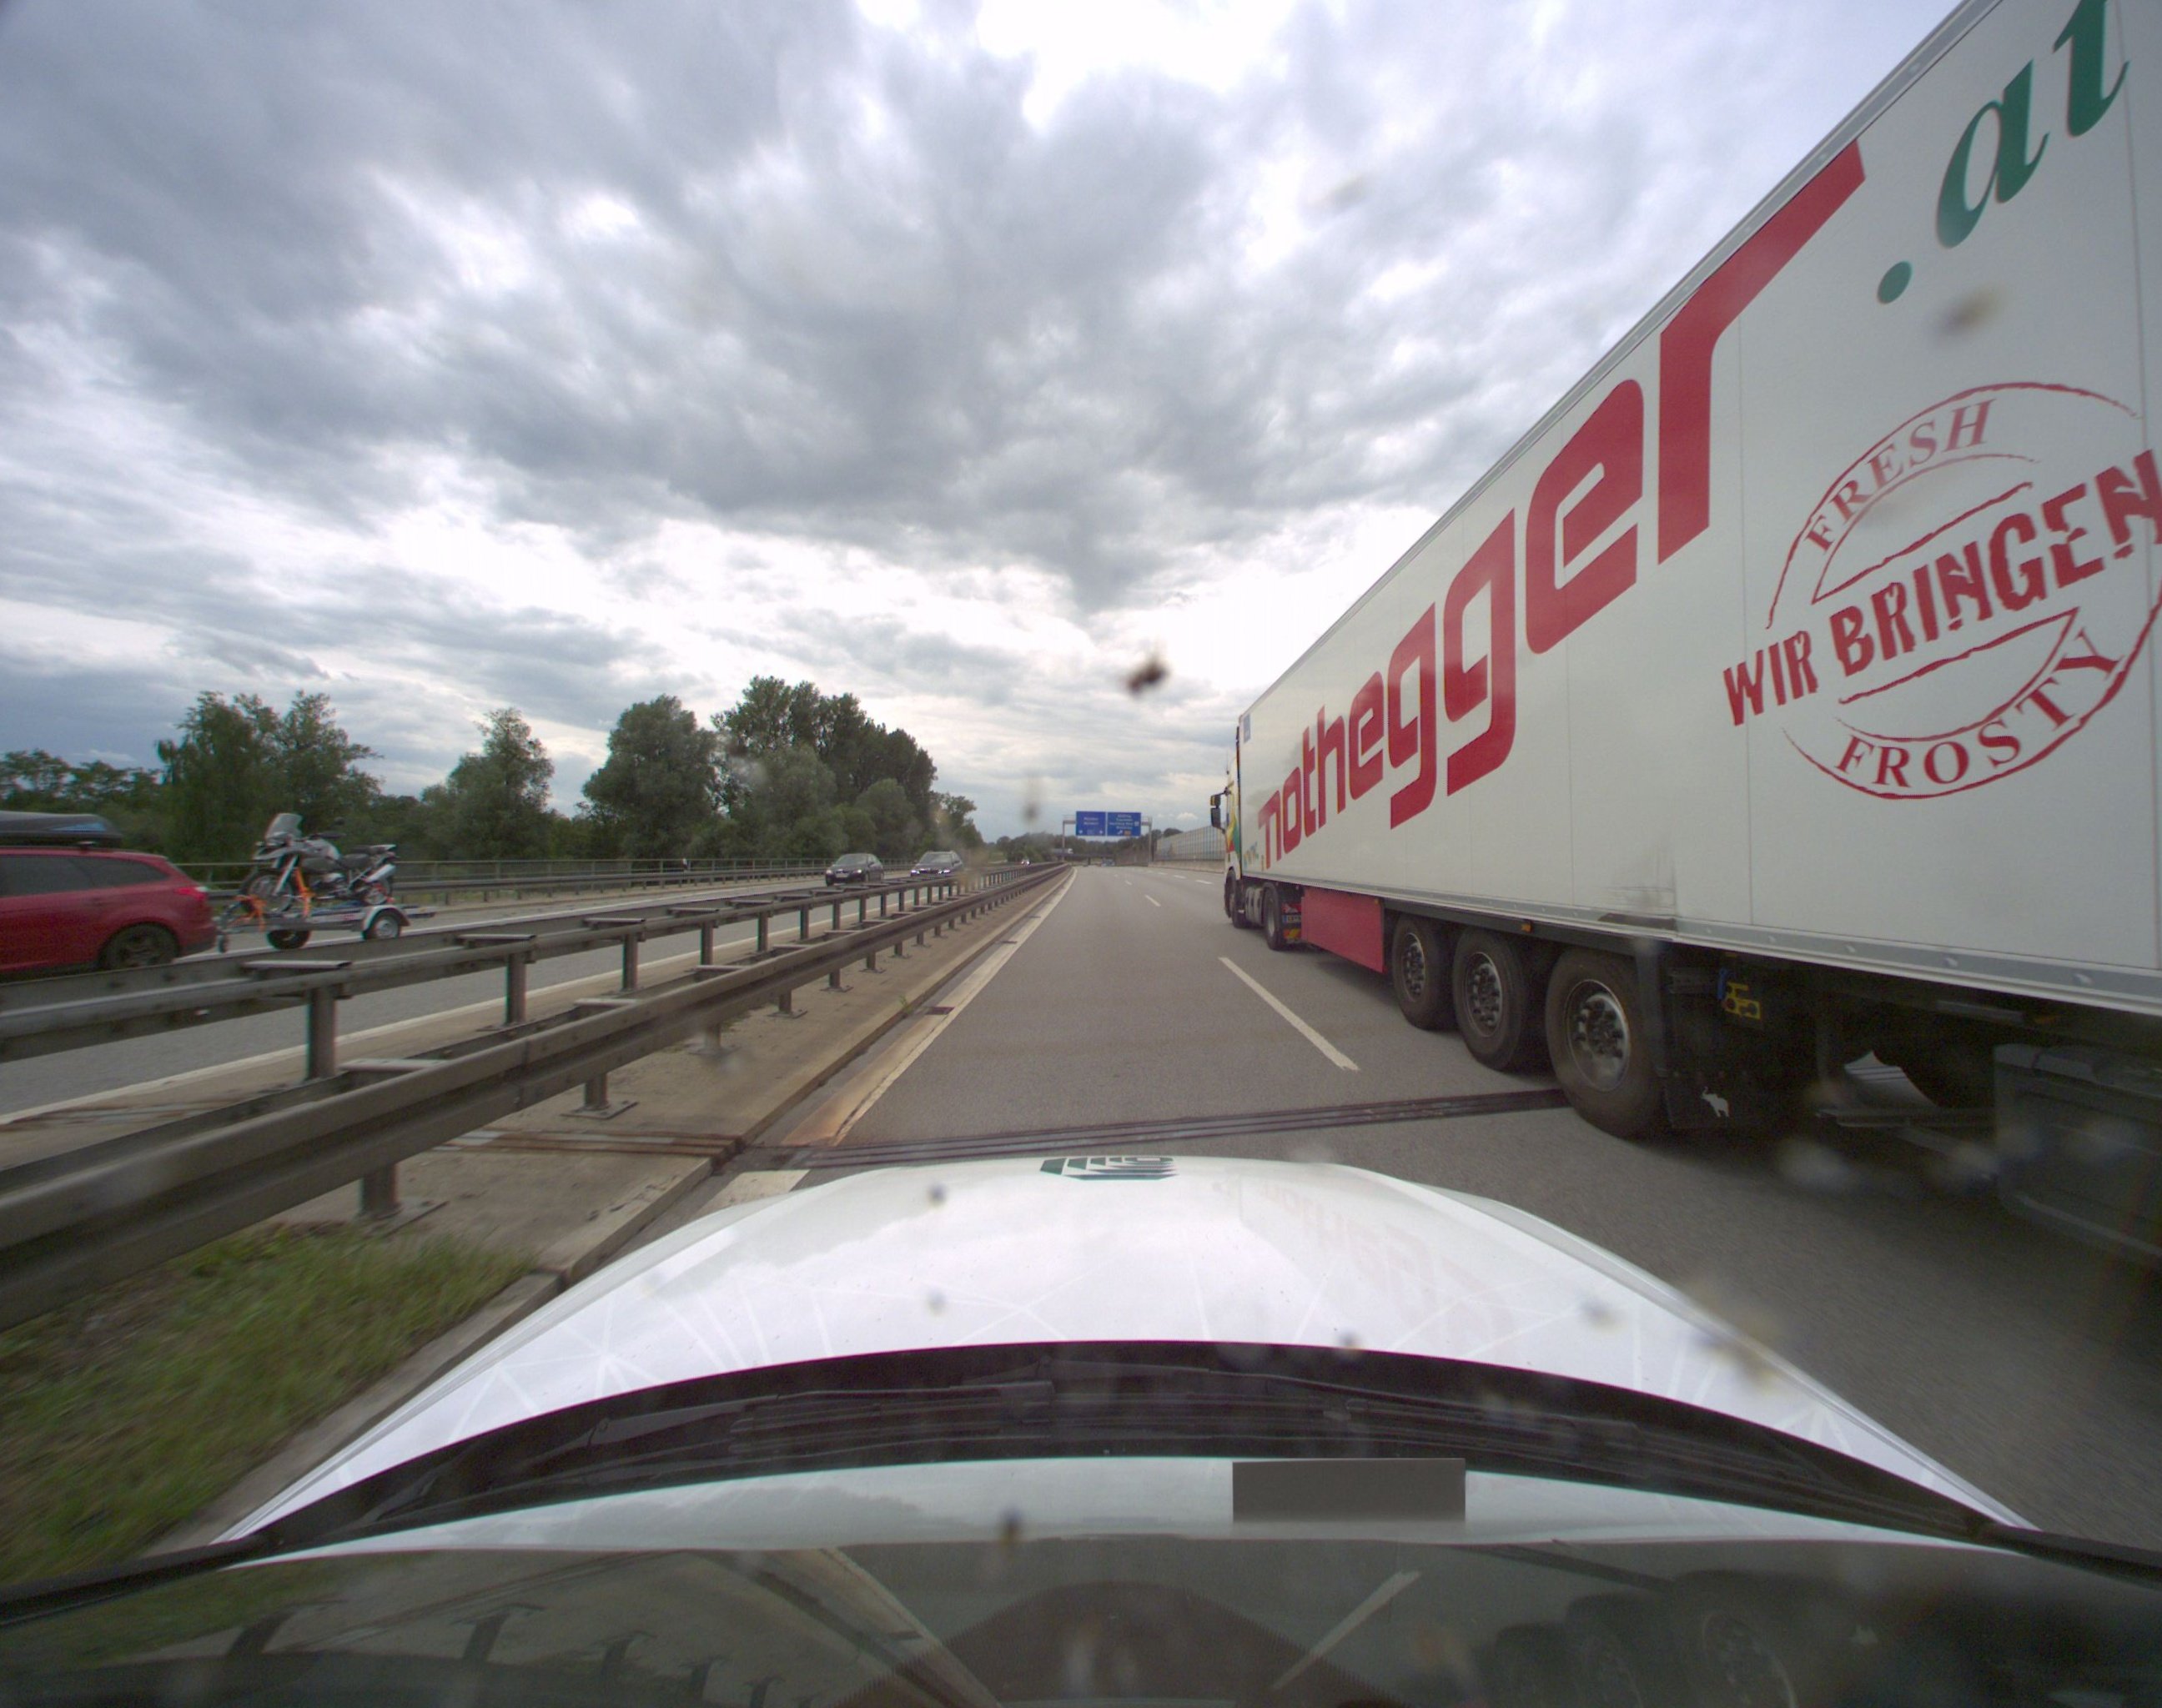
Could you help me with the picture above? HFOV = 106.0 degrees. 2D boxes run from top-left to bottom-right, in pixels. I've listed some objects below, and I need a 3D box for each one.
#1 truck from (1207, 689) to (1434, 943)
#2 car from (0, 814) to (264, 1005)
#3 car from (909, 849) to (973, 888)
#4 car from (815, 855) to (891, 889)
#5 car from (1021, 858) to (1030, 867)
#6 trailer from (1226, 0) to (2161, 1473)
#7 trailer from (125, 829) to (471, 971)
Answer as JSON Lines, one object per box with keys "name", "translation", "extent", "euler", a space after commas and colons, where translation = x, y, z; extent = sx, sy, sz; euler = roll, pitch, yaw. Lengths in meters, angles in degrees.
{"name": "truck", "translation": [4.199, -0.598, 15.639], "extent": [2.746, 3.959, 5.678], "euler": [-1, 0, 1]}
{"name": "car", "translation": [-10.967, 0.519, 7.431], "extent": [1.963, 1.761, 4.946], "euler": [-1, 0, 1]}
{"name": "car", "translation": [-6.040, 0.602, 35.661], "extent": [1.834, 1.531, 4.836], "euler": [-2, 0, 1]}
{"name": "car", "translation": [-10.234, 0.770, 36.962], "extent": [1.963, 1.403, 4.711], "euler": [-2, 0, 1]}
{"name": "car", "translation": [-13.472, 2.055, 198.381], "extent": [1.988, 2.002, 4.739], "euler": [0, -1, -2]}
{"name": "trailer", "translation": [4.016, -0.678, 8.399], "extent": [2.782, 4.174, 14.107], "euler": [-1, 0, 1]}
{"name": "trailer", "translation": [-10.882, 0.563, 11.693], "extent": [1.642, 1.748, 3.377], "euler": [0, 0, 1]}
